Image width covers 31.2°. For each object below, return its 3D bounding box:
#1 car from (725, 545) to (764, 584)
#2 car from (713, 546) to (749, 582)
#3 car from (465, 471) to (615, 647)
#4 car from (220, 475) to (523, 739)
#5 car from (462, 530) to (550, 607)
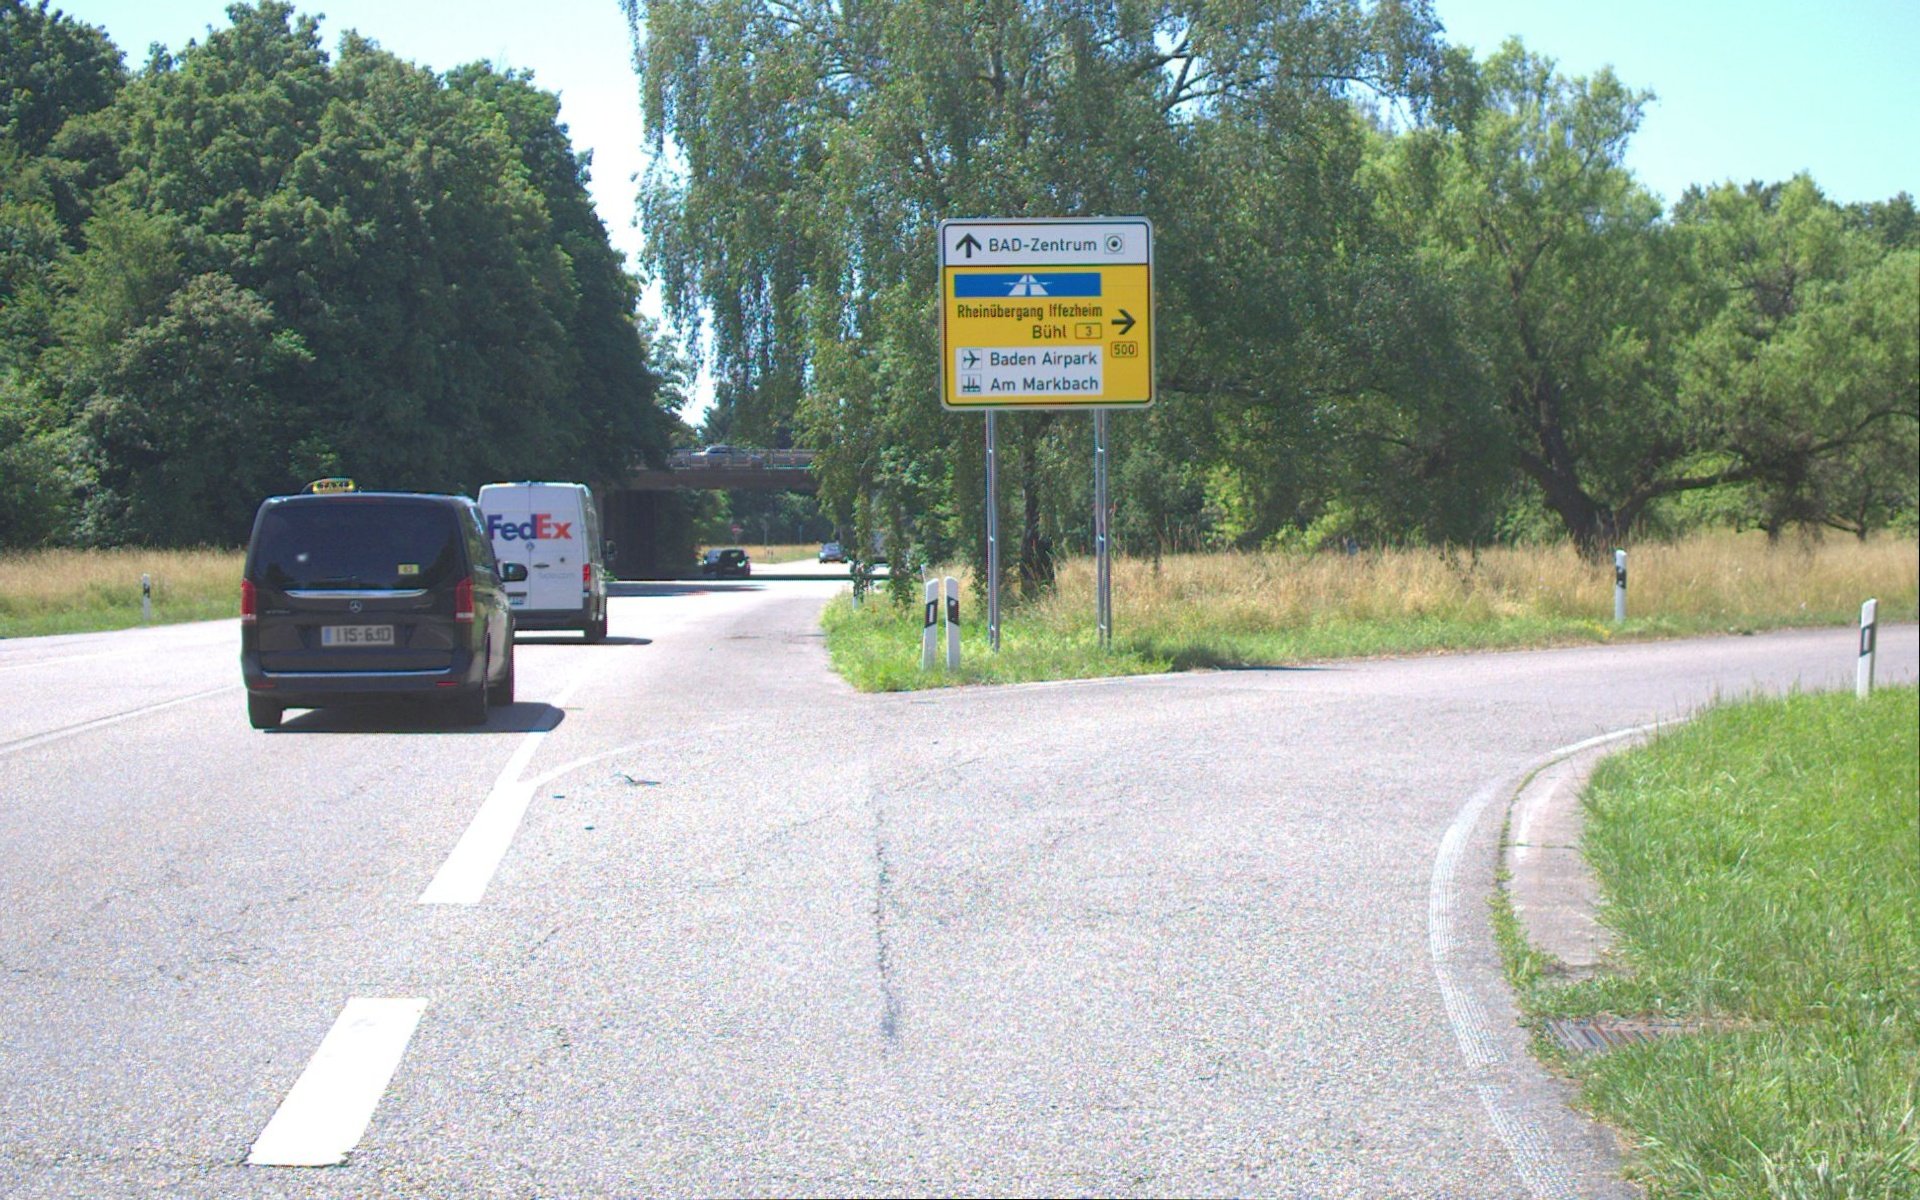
[{"bbox_3d":[-11.837,-1.947,188.532,1.993,2.007,4.001,2,1,-4],"label":"car"},{"bbox_3d":[-13.562,-2.137,203.548,1.993,2.007,4.001,2,1,-4],"label":"car"},{"bbox_3d":[-6.827,-0.678,56.281,2.078,2.693,4.667,2,1,-3],"label":"car"},{"bbox_3d":[-4.769,0.015,28.520,1.993,1.946,5.006,2,1,-5],"label":"car"},{"bbox_3d":[-12.664,-0.898,96.173,1.993,2.007,4.000,2,1,-2],"label":"car"}]
